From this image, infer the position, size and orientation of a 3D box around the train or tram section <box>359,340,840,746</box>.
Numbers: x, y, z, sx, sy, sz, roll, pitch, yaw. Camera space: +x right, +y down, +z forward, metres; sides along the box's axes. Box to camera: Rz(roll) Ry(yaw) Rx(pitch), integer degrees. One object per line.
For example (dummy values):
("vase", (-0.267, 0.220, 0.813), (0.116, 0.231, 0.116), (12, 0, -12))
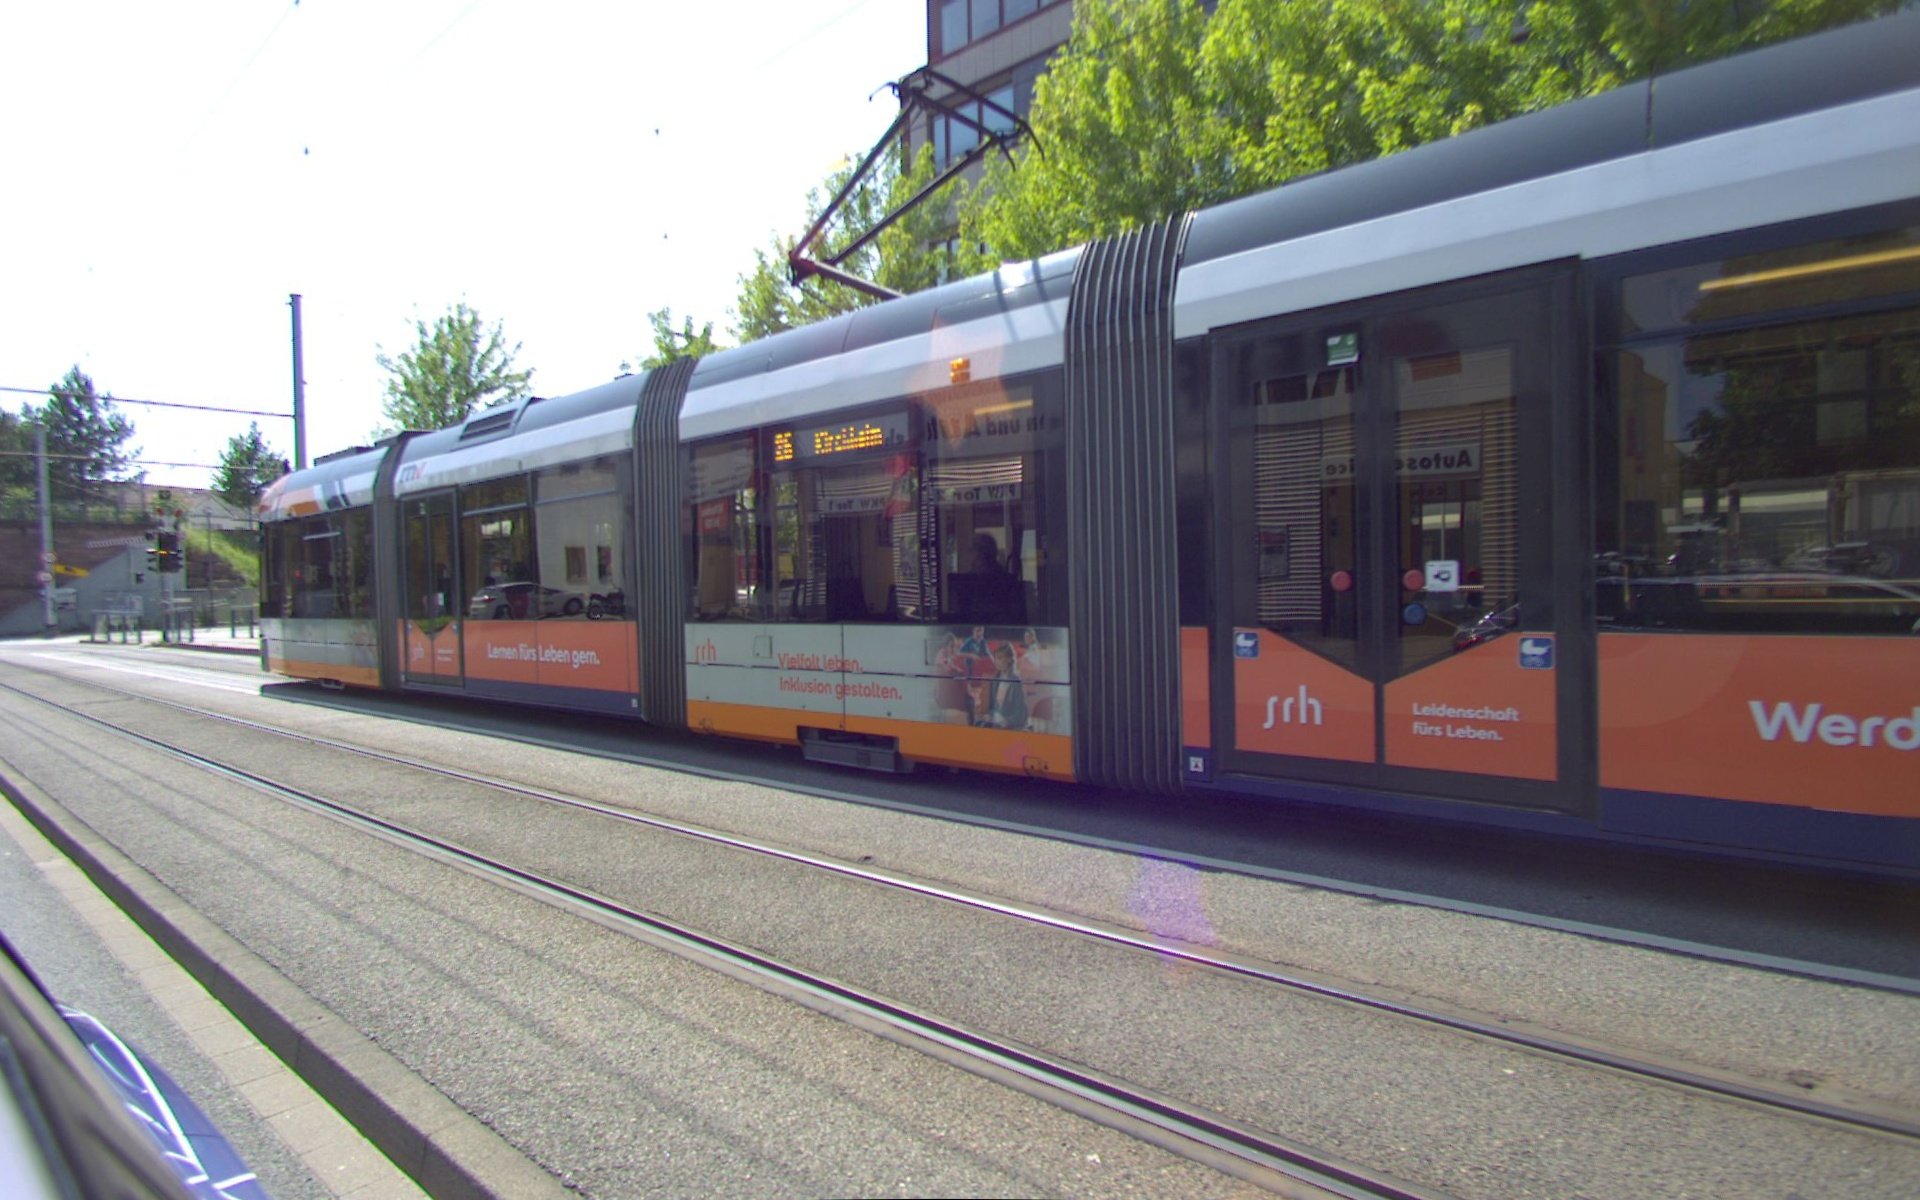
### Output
("train or tram section", (-4.333, -0.471, 11.554), (5.840, 3.473, 2.584), (-1, 0, 41))

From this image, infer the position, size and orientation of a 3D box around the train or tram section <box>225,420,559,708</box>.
("train or tram section", (-8.765, -0.428, 15.357), (5.739, 3.559, 2.584), (-1, 0, 41))

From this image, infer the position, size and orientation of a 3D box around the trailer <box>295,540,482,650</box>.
("trailer", (-17.582, -0.104, 30.944), (6.893, 3.000, 2.716), (-1, 0, 40))

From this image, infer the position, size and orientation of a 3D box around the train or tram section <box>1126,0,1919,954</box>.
("train or tram section", (4.407, -0.610, 3.862), (7.132, 3.473, 2.554), (-1, 0, 41))

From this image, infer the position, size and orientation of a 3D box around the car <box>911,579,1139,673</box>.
("car", (1.113, 0.445, 18.490), (3.903, 1.474, 1.704), (-1, 2, 42))

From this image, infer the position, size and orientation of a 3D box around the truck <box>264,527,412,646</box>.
("truck", (-20.705, -0.394, 33.602), (5.036, 3.636, 2.716), (-1, 0, 40))

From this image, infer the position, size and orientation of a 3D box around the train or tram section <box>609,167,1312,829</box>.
("train or tram section", (-0.221, -0.525, 7.939), (5.007, 3.473, 2.584), (-1, 0, 41))
